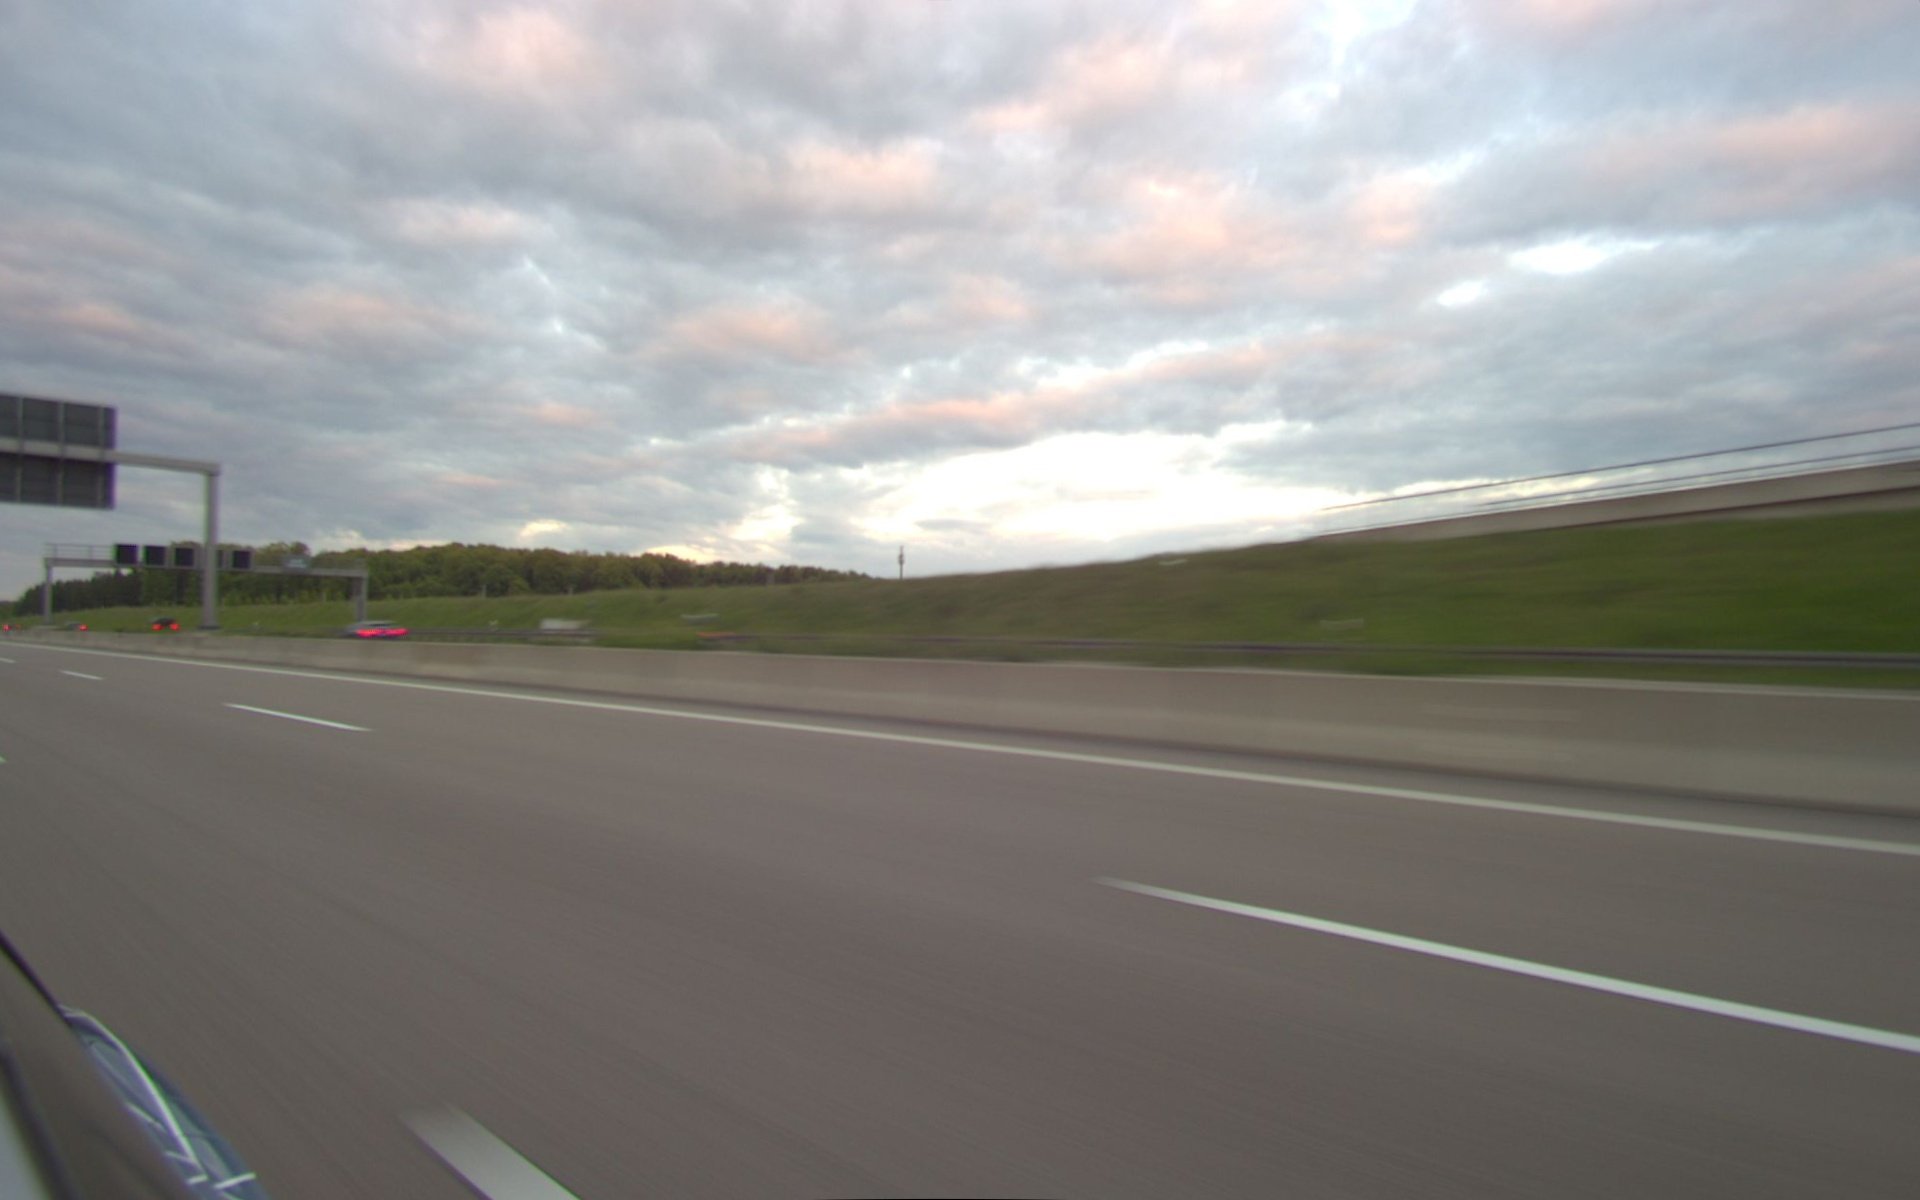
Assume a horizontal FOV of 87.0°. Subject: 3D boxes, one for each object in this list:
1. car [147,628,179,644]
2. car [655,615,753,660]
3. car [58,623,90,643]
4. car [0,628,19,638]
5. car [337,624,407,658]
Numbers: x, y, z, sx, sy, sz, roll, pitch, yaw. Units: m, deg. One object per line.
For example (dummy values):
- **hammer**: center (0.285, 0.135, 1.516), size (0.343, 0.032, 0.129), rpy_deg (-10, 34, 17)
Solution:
- **car**: center (-78.170, 3.539, 99.208), size (3.998, 1.470, 1.795), rpy_deg (-1, 0, 41)
- **car**: center (-9.697, 1.397, 38.123), size (3.998, 1.569, 1.585), rpy_deg (-1, 0, 41)
- **car**: center (-94.830, 3.517, 108.330), size (4.901, 2.029, 1.973), rpy_deg (-1, 0, 41)
- **car**: center (-166.093, 5.776, 176.864), size (5.085, 1.841, 1.973), rpy_deg (-2, -2, 41)
- **car**: center (-29.180, 2.016, 50.195), size (4.359, 1.564, 1.736), rpy_deg (-1, 0, 42)
